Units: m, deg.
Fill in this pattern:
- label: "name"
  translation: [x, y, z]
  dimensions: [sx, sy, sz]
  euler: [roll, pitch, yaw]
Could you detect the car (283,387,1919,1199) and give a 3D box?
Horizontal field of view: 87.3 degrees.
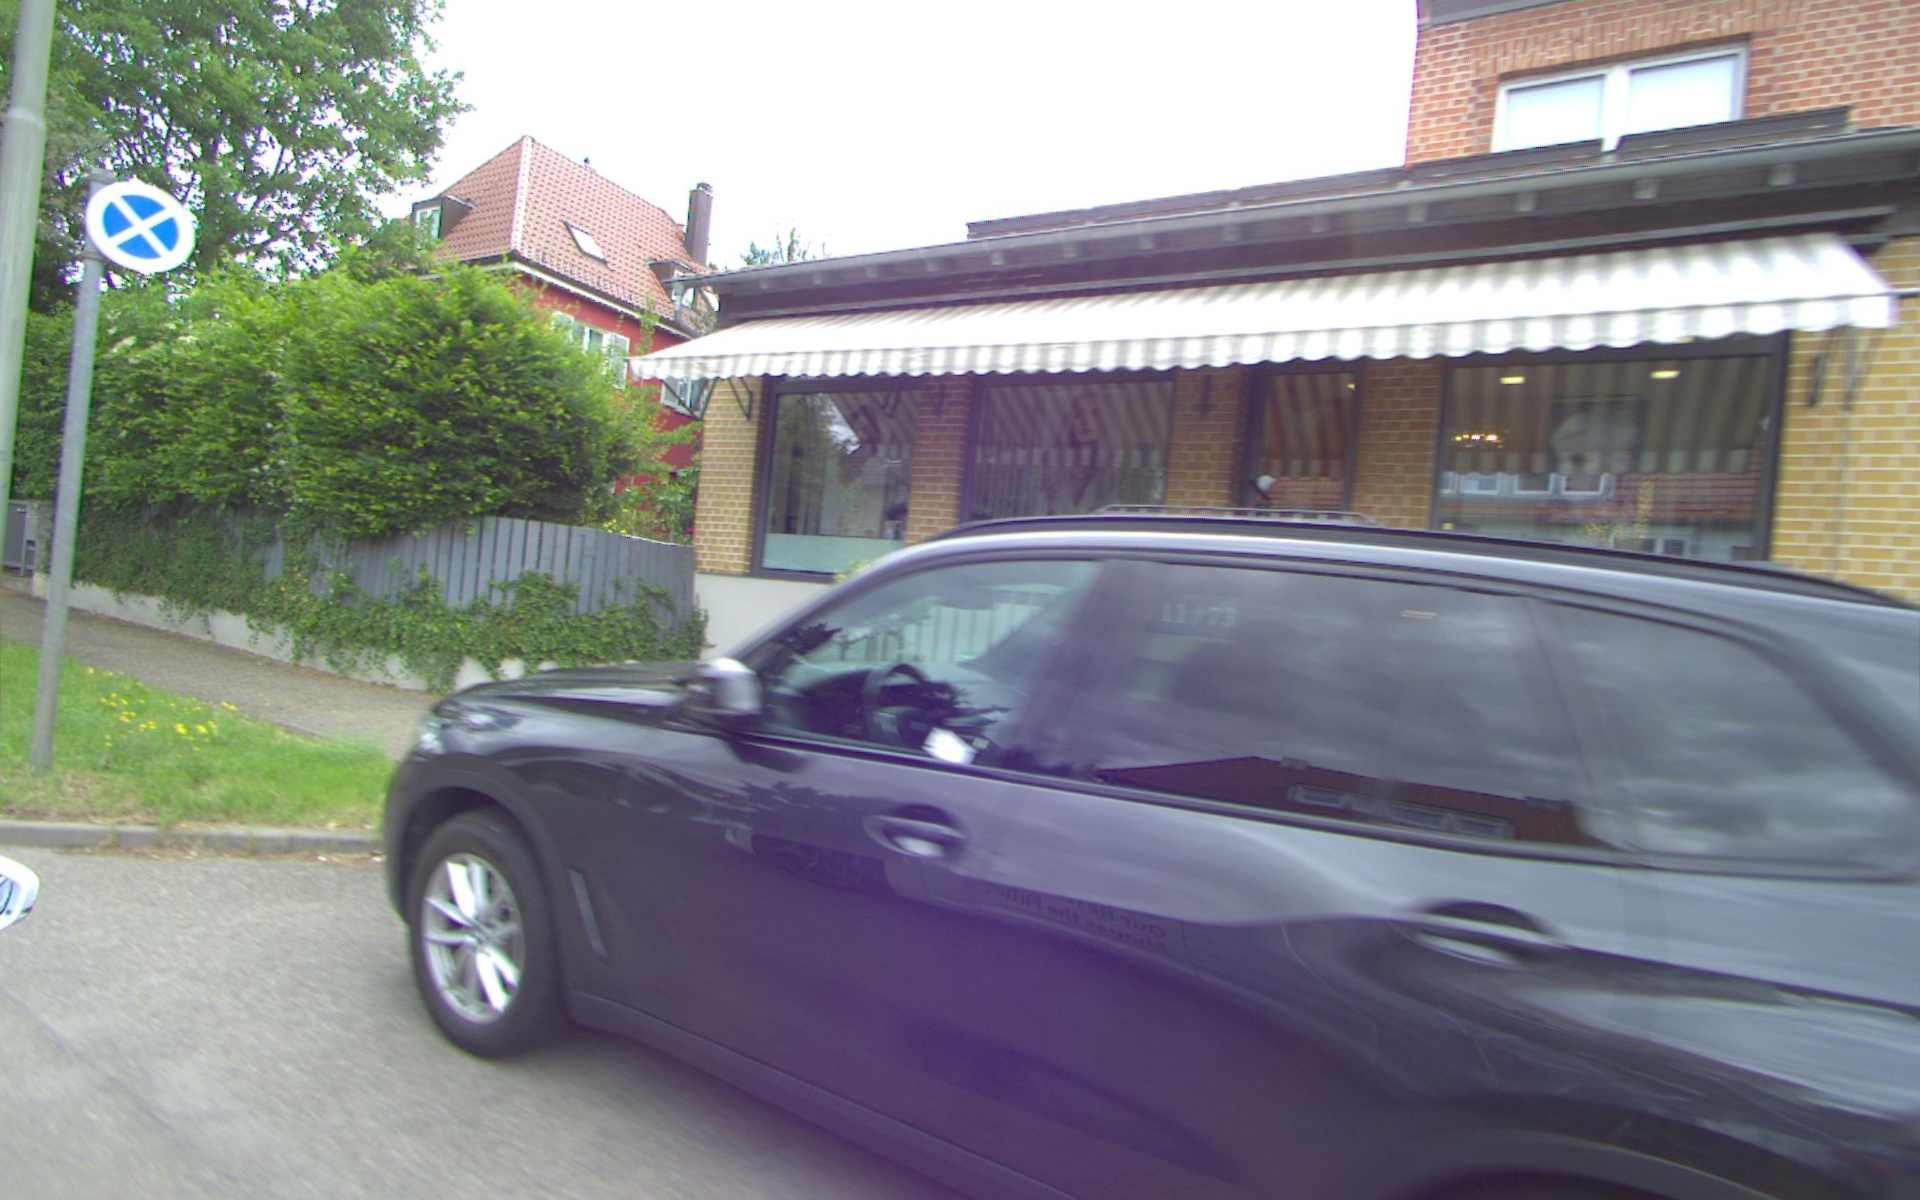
- label: "car"
  translation: [0.274, 0.557, 2.959]
  dimensions: [4.834, 1.861, 1.899]
  euler: [6, 1, 32]
